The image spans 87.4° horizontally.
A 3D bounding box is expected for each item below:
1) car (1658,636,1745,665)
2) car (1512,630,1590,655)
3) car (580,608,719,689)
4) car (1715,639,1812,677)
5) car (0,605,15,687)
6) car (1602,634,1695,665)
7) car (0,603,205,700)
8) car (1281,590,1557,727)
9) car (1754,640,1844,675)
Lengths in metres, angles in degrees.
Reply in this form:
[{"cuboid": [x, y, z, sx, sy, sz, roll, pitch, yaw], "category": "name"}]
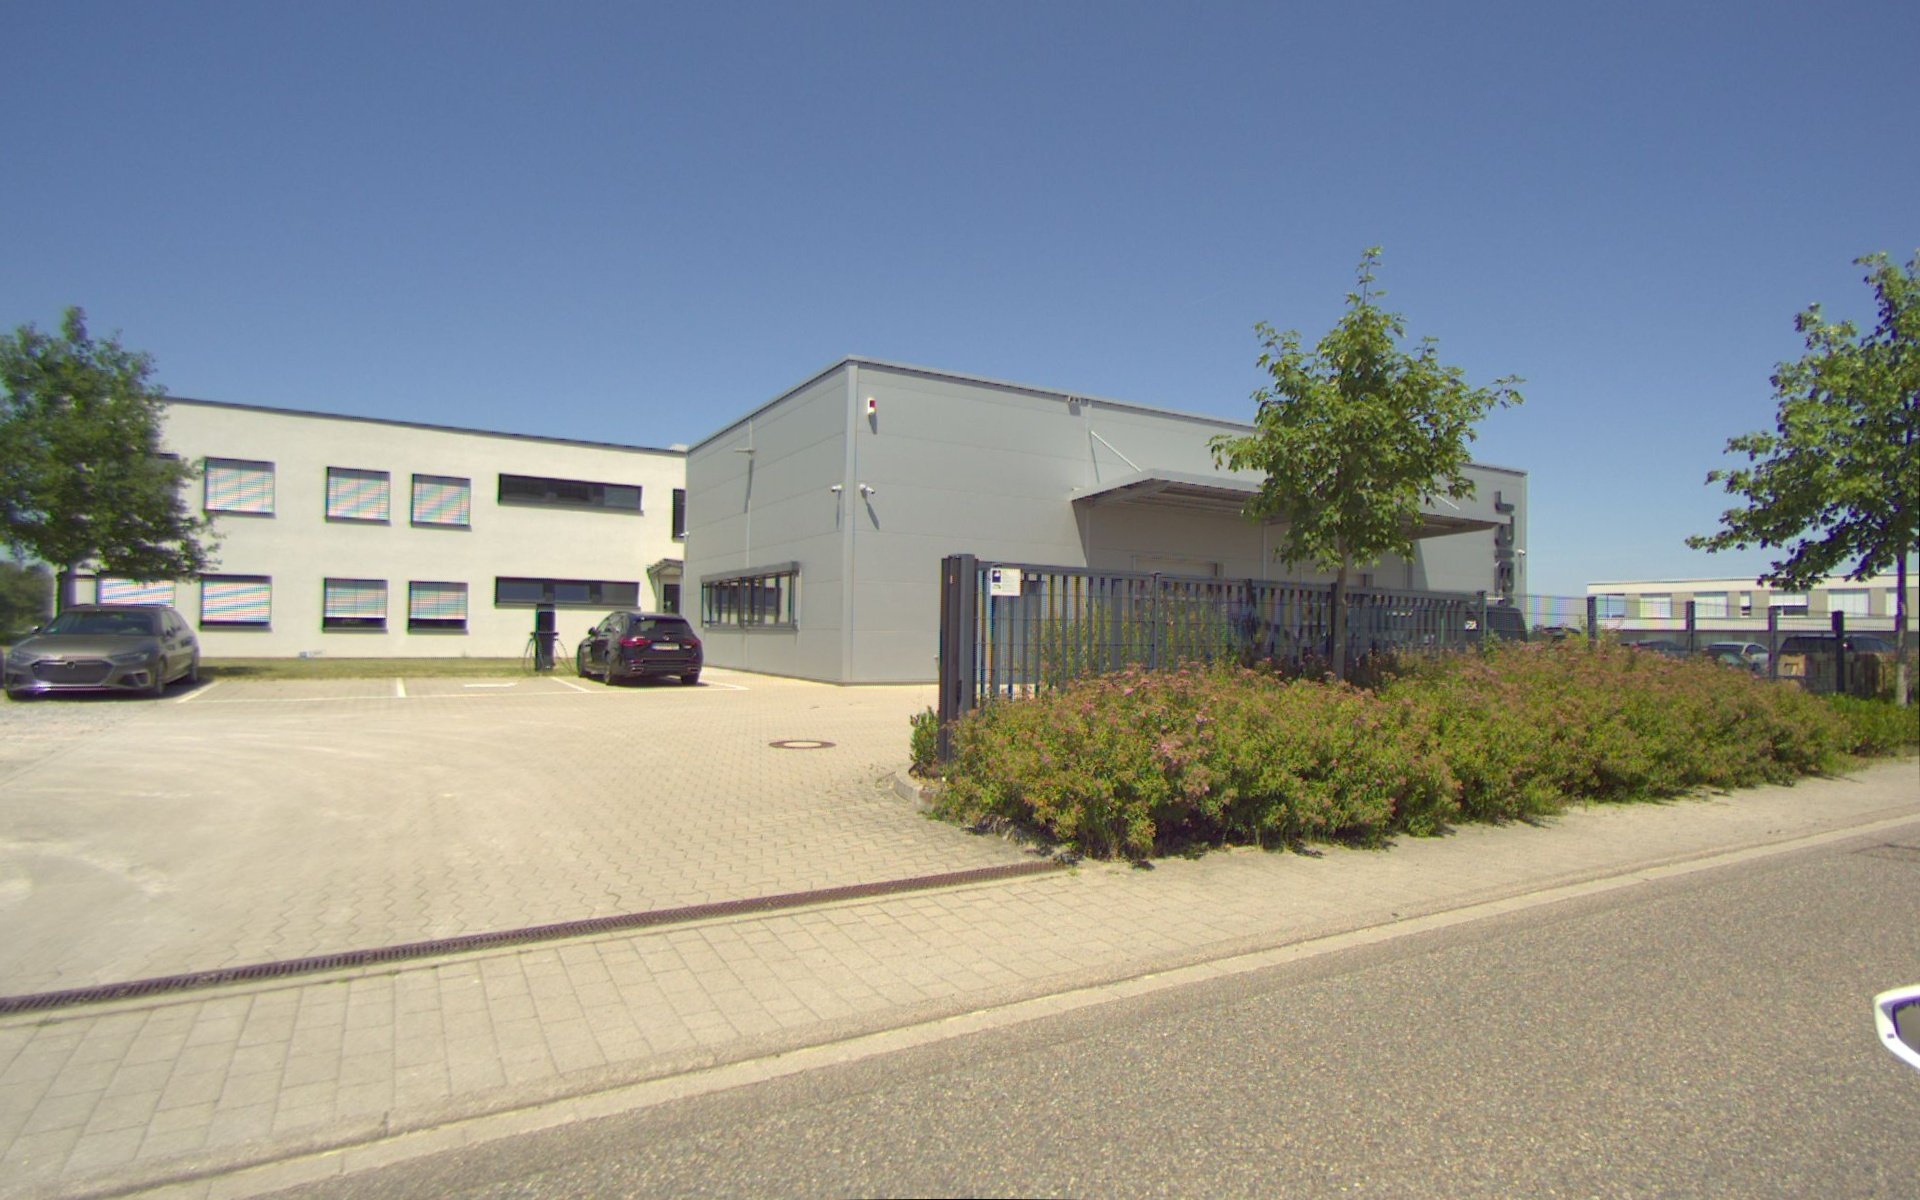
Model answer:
[{"cuboid": [31.674, 2.141, 42.913, 3.719, 1.149, 1.815, 2, -2, -33], "category": "car"}, {"cuboid": [28.925, 2.067, 49.161, 3.719, 1.149, 1.815, 2, -2, -33], "category": "car"}, {"cuboid": [-6.634, 0.966, 21.173, 1.976, 1.517, 4.071, 2, -1, -29], "category": "car"}, {"cuboid": [30.432, 2.184, 38.019, 3.719, 1.355, 1.815, 2, -2, -33], "category": "car"}, {"cuboid": [-15.985, 0.727, 14.958, 1.859, 1.368, 4.087, 2, -1, -30], "category": "car"}, {"cuboid": [27.812, 1.998, 40.553, 3.719, 1.149, 1.815, 2, -2, -33], "category": "car"}, {"cuboid": [-13.852, 0.771, 16.441, 1.859, 1.368, 4.087, 2, -1, -30], "category": "car"}, {"cuboid": [8.068, 0.973, 17.592, 4.636, 2.126, 1.992, 2, 0, -29], "category": "car"}, {"cuboid": [34.397, 2.333, 41.172, 3.719, 1.355, 1.815, 2, -2, -33], "category": "car"}]
